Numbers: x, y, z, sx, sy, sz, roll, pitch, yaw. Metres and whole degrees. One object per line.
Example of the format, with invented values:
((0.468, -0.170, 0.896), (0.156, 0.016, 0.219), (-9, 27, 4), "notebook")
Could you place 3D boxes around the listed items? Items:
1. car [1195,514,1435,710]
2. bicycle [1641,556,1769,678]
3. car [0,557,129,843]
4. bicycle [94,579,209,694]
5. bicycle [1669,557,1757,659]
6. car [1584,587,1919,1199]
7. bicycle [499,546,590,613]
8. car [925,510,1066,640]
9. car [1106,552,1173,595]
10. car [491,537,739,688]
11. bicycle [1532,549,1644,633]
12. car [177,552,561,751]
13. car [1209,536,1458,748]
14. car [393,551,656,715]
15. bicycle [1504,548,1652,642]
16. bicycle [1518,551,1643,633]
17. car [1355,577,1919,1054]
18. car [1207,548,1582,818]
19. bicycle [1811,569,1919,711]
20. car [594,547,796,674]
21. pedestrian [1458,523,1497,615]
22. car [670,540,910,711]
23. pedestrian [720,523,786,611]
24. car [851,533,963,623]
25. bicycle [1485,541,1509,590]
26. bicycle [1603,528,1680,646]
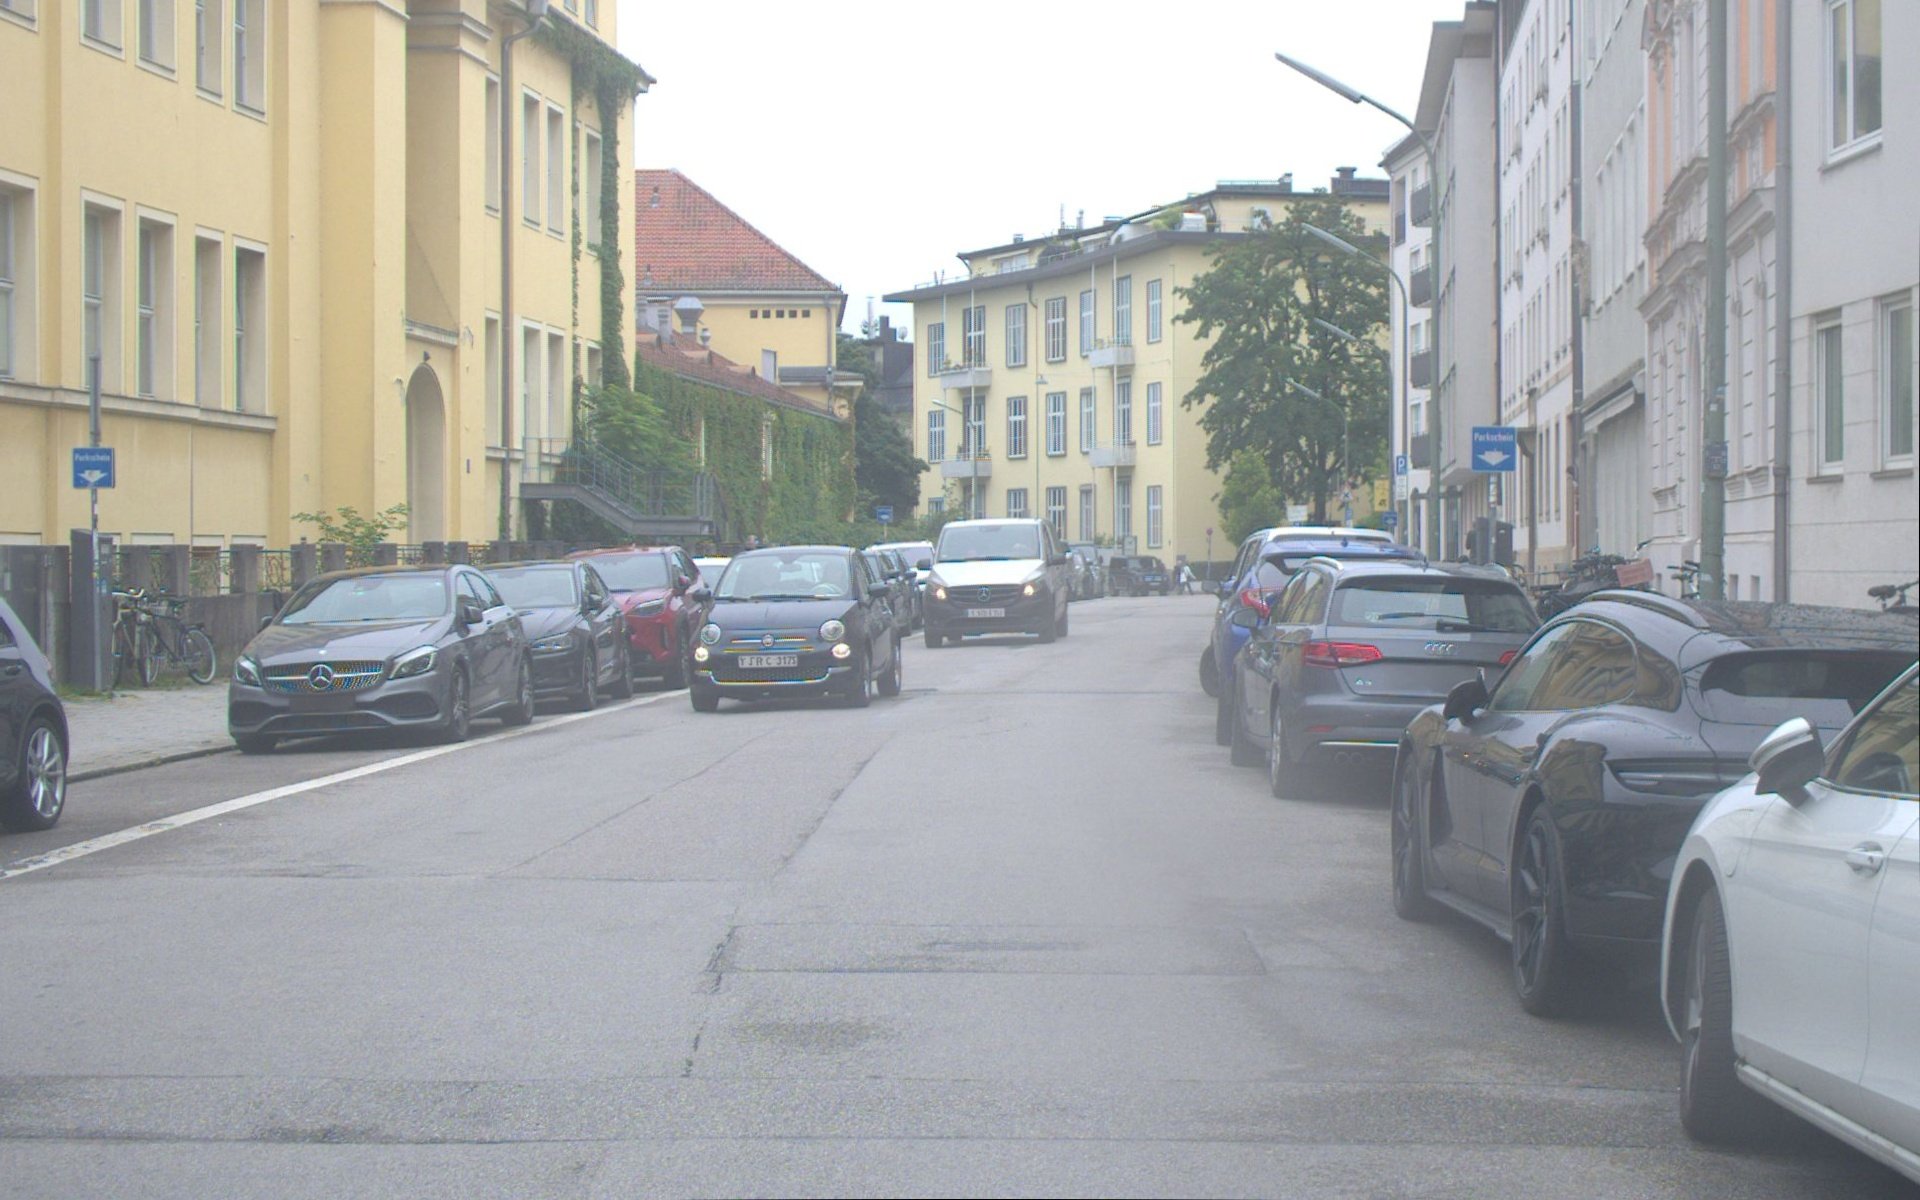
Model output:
((3.223, 0.072, 31.861), (1.681, 1.667, 3.805), (1, 1, -2), "car")
((7.094, 0.146, 32.824), (0.723, 1.108, 1.995), (0, 1, -2), "bicycle")
((-6.042, 0.591, 17.706), (1.914, 1.477, 4.530), (-3, 1, 7), "car")
((-8.679, 0.371, 36.966), (0.535, 1.181, 2.106), (0, 1, 6), "bicycle")
((7.889, 0.068, 36.062), (0.595, 1.020, 1.817), (-1, 1, 3), "bicycle")
((2.792, 0.723, 7.390), (1.854, 1.409, 5.015), (0, 1, -2), "car")
((-7.923, -0.394, 65.593), (1.626, 1.264, 0.527), (-1, 1, 8), "bicycle")
((0.593, -0.389, 51.693), (1.915, 1.842, 5.320), (0, 1, 3), "car")
((8.492, -1.266, 162.801), (1.762, 1.868, 4.380), (4, 0, -16), "car")
((-3.745, 0.113, 38.064), (1.958, 1.477, 4.529), (-3, 0, 4), "car")
((8.396, -0.129, 45.888), (0.621, 1.086, 1.810), (0, 1, 41), "bicycle")
((-4.762, 0.380, 28.423), (2.014, 1.413, 4.615), (-3, 0, 4), "car")
((2.874, 0.258, 26.581), (1.742, 1.489, 4.547), (0, 1, 6), "car")
((-4.150, 0.276, 33.424), (1.749, 1.400, 4.354), (-3, 1, 3), "car")
((7.854, -0.074, 43.657), (2.086, 1.135, 0.584), (-2, 1, -38), "bicycle")
((8.395, -0.121, 46.489), (1.842, 1.064, 0.515), (-2, 1, -36), "bicycle")
((2.780, 0.630, 12.862), (1.954, 1.409, 5.113), (0, 1, -1), "car")
((2.633, 0.439, 21.792), (1.705, 1.449, 4.402), (3, 1, -1), "car")
((7.347, 0.296, 27.358), (0.529, 1.068, 2.001), (0, 1, -4), "bicycle")
((-3.300, 0.101, 43.738), (1.794, 1.424, 4.664), (-3, 0, 4), "car")
((10.119, -0.605, 67.250), (0.723, 1.757, 0.904), (0, -2, 7), "pedestrian")
((-1.533, 0.202, 32.249), (1.661, 1.469, 3.707), (-1, 1, 6), "car")
((-4.124, -0.658, 68.510), (0.902, 1.713, 1.057), (-1, 1, 23), "pedestrian")
((-0.990, -0.428, 66.502), (1.746, 1.628, 4.856), (-2, 1, 3), "car")
((13.449, -0.856, 86.180), (0.530, 1.213, 2.102), (0, 1, 7), "bicycle")
((8.262, -0.173, 41.738), (0.595, 1.380, 2.092), (-1, 1, 3), "bicycle")
